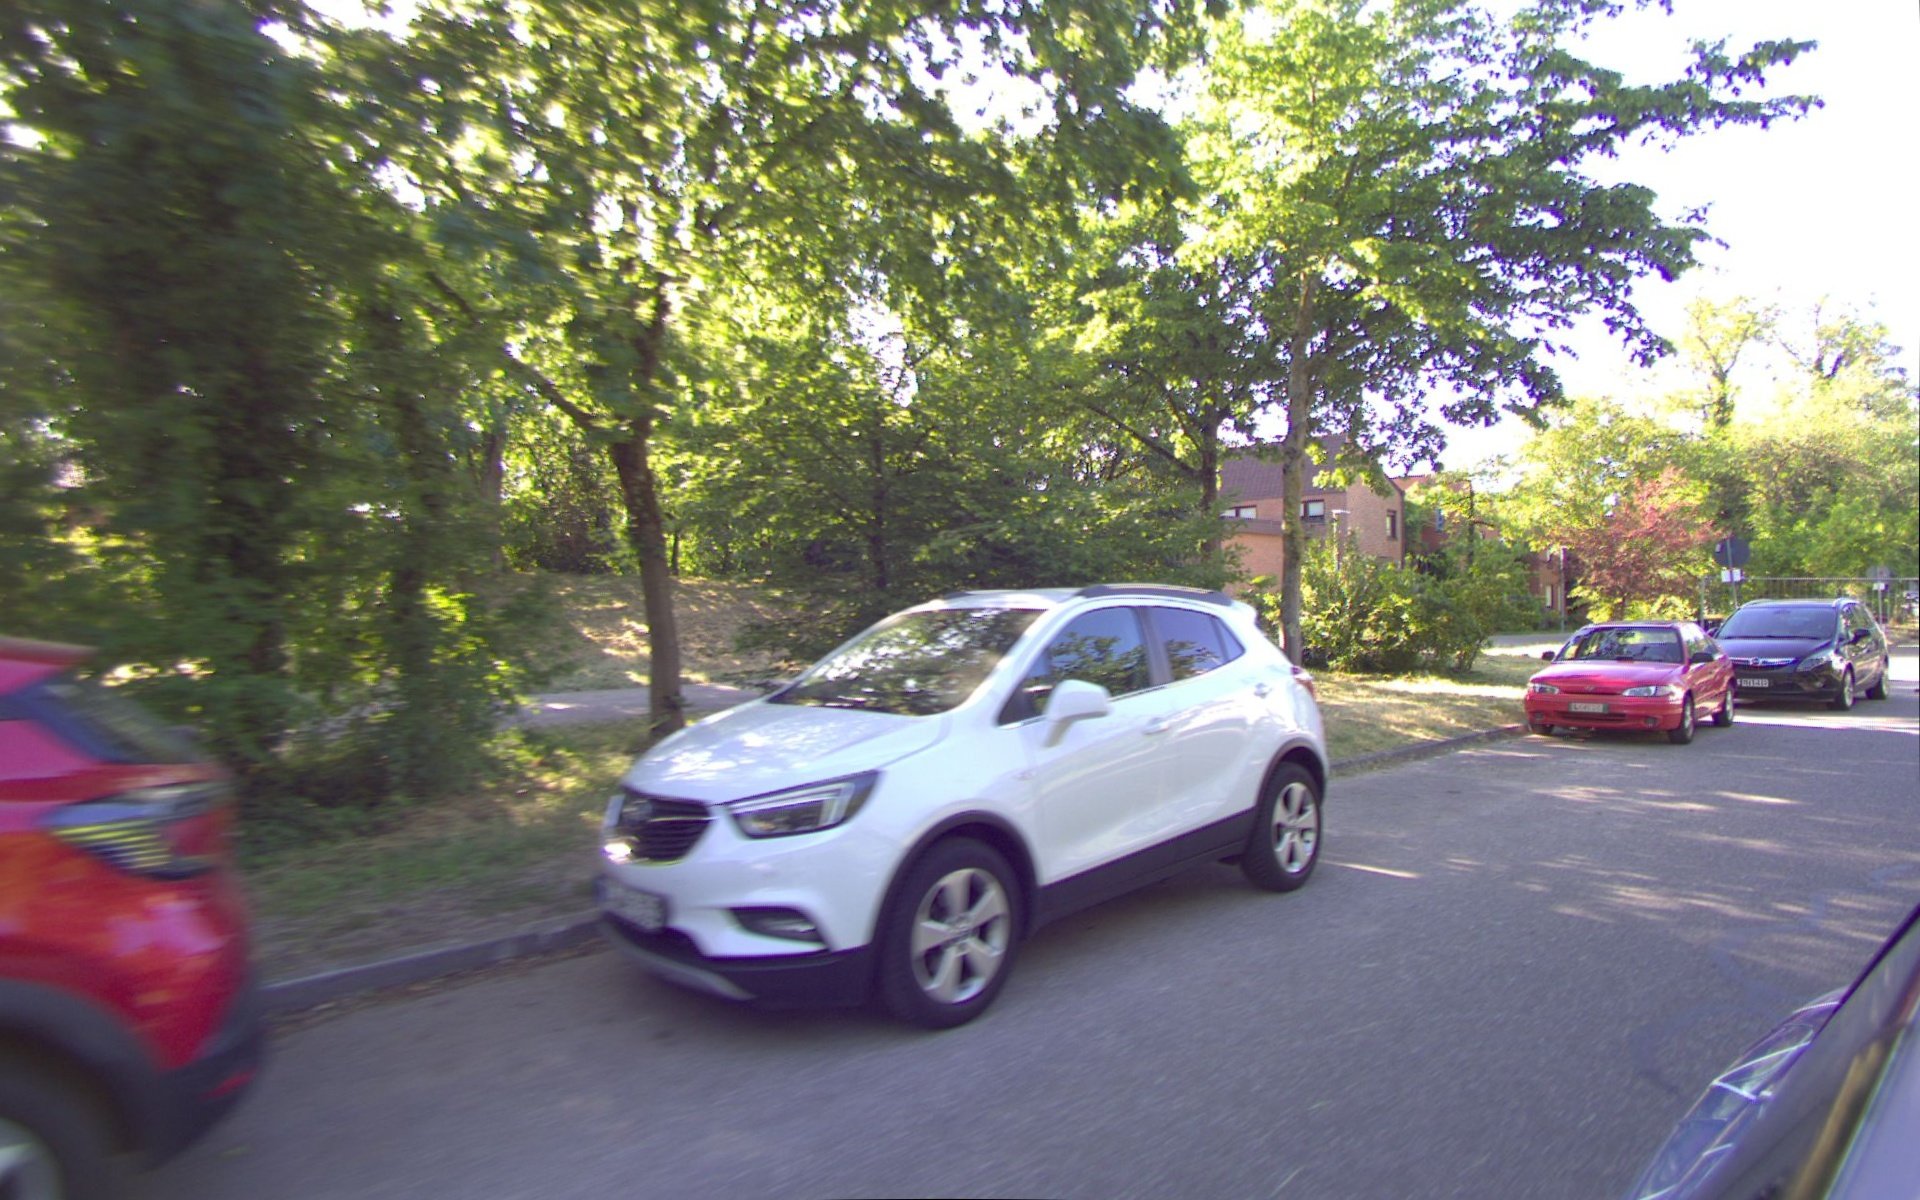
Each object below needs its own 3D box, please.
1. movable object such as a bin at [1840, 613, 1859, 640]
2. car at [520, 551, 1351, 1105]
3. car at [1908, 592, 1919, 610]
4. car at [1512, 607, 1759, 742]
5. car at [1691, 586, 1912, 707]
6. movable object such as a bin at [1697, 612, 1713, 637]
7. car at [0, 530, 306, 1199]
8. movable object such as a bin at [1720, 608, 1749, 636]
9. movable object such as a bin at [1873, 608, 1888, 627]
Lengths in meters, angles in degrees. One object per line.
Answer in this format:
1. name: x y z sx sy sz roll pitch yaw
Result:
1. movable object such as a bin: 29.843 0.895 33.947 0.476 0.881 0.413 0 1 -42
2. car: 0.173 0.699 5.058 3.997 1.642 1.776 0 -2 -44
3. car: 108.120 0.158 111.493 1.967 2.030 5.260 1 0 -44
4. car: 8.594 0.826 12.738 4.085 1.393 1.663 0 -2 -43
5. car: 13.430 0.663 16.071 4.341 1.672 1.814 0 -2 -39
6. movable object such as a bin: 27.052 0.880 36.754 0.423 0.893 0.518 1 1 36
7. car: -3.556 0.712 1.600 3.997 1.642 1.776 0 -2 -44
8. movable object such as a bin: 27.764 0.776 36.276 0.683 0.940 0.695 0 1 -42
9. movable object such as a bin: 42.860 0.793 47.122 0.484 0.872 0.550 -1 -1 45
